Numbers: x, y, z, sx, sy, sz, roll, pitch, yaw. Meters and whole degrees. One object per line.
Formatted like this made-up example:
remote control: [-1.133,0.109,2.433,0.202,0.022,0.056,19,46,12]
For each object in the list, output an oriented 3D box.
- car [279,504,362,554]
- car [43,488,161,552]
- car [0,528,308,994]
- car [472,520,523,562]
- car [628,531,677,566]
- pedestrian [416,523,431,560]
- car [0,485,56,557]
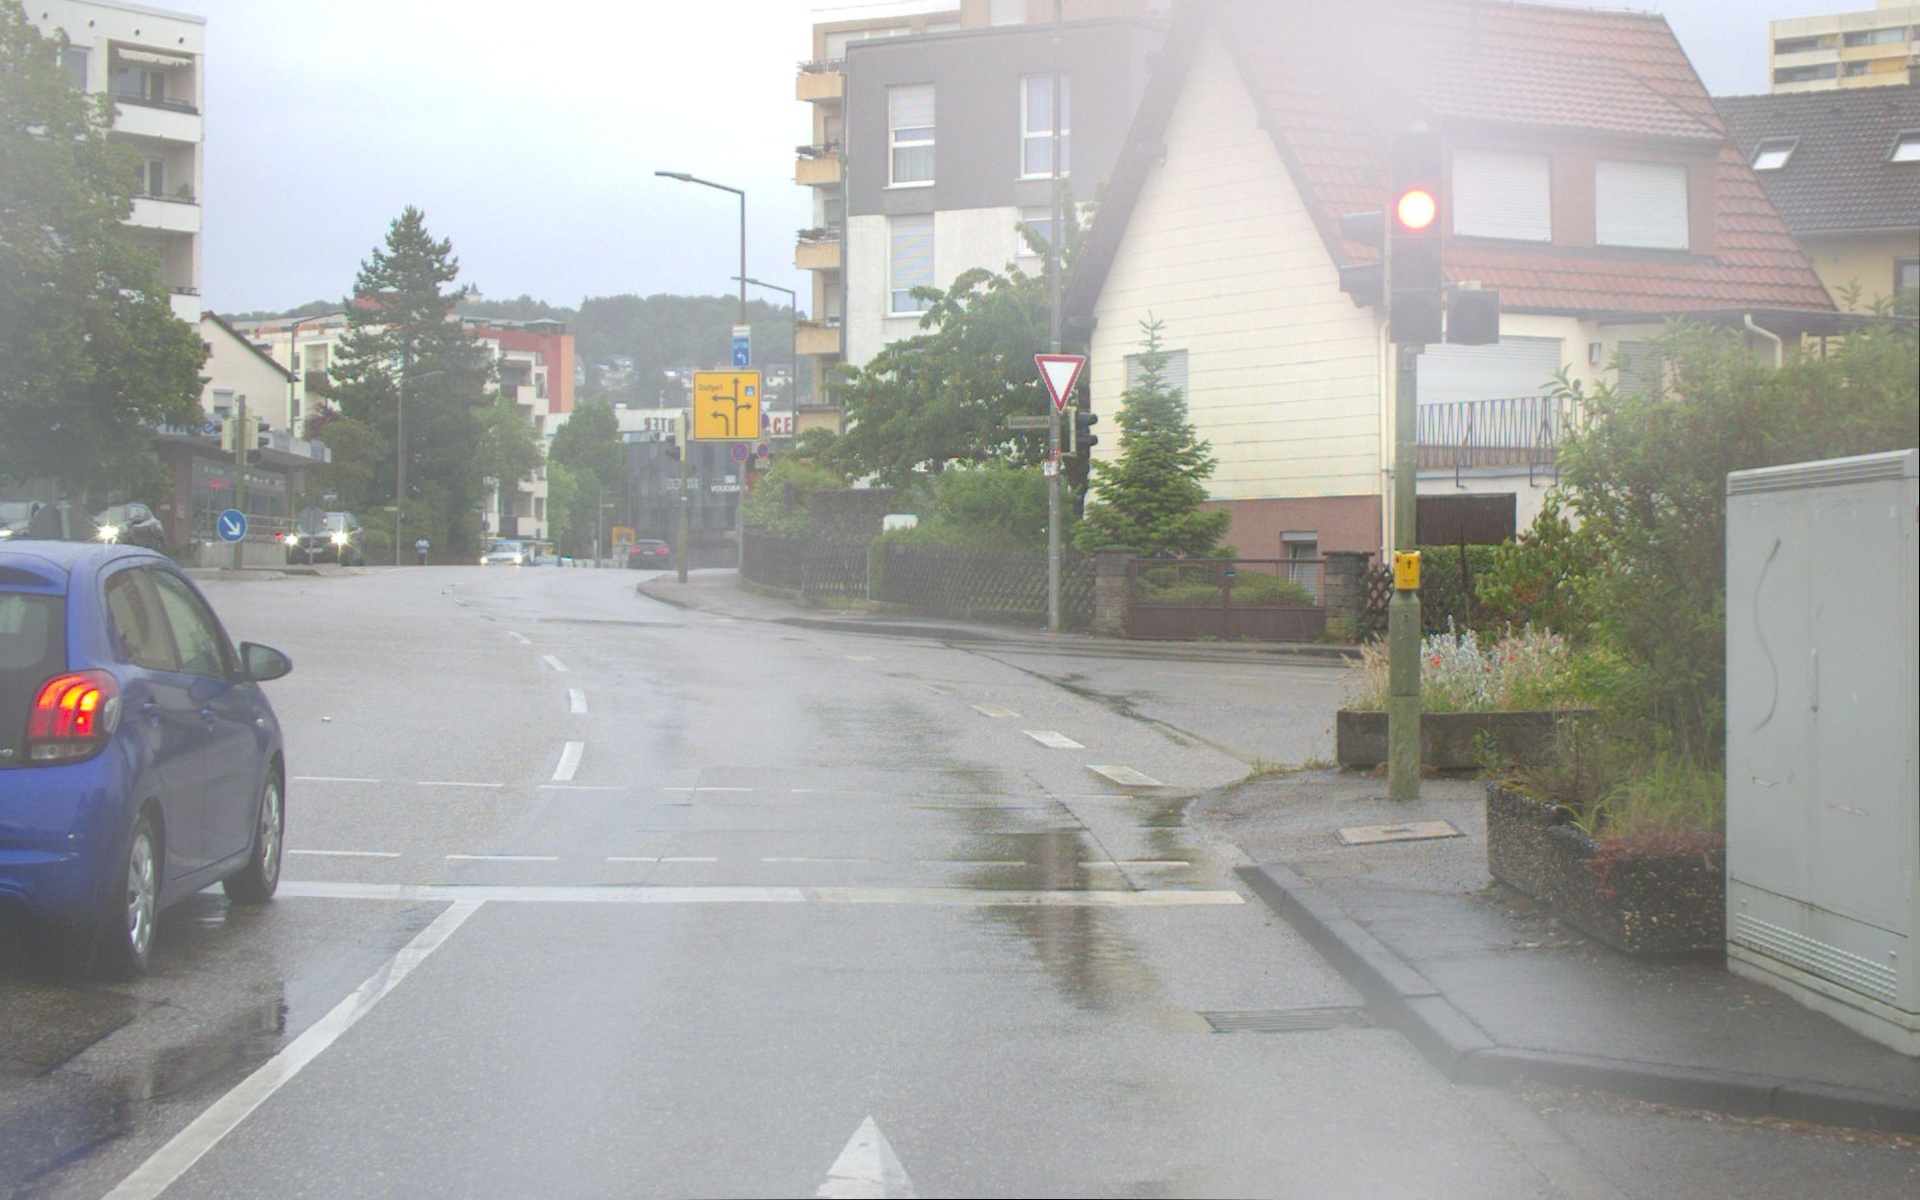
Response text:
car: [-18.632,-2.082,100.259,1.778,1.415,3.831,1,2,-1]
car: [-19.236,-1.804,77.182,1.715,1.382,4.021,1,2,-1]
car: [-3.422,0.465,12.321,1.578,1.406,3.270,1,2,-1]
car: [-20.437,-2.620,152.062,1.755,1.809,3.861,1,2,0]
car: [-13.594,-2.279,152.280,1.813,1.481,4.189,0,2,0]
pedestrian: [-23.922,-2.606,153.238,0.498,1.652,0.433,2,2,35]
car: [-19.737,-1.628,69.931,1.778,1.415,3.831,1,2,-1]
